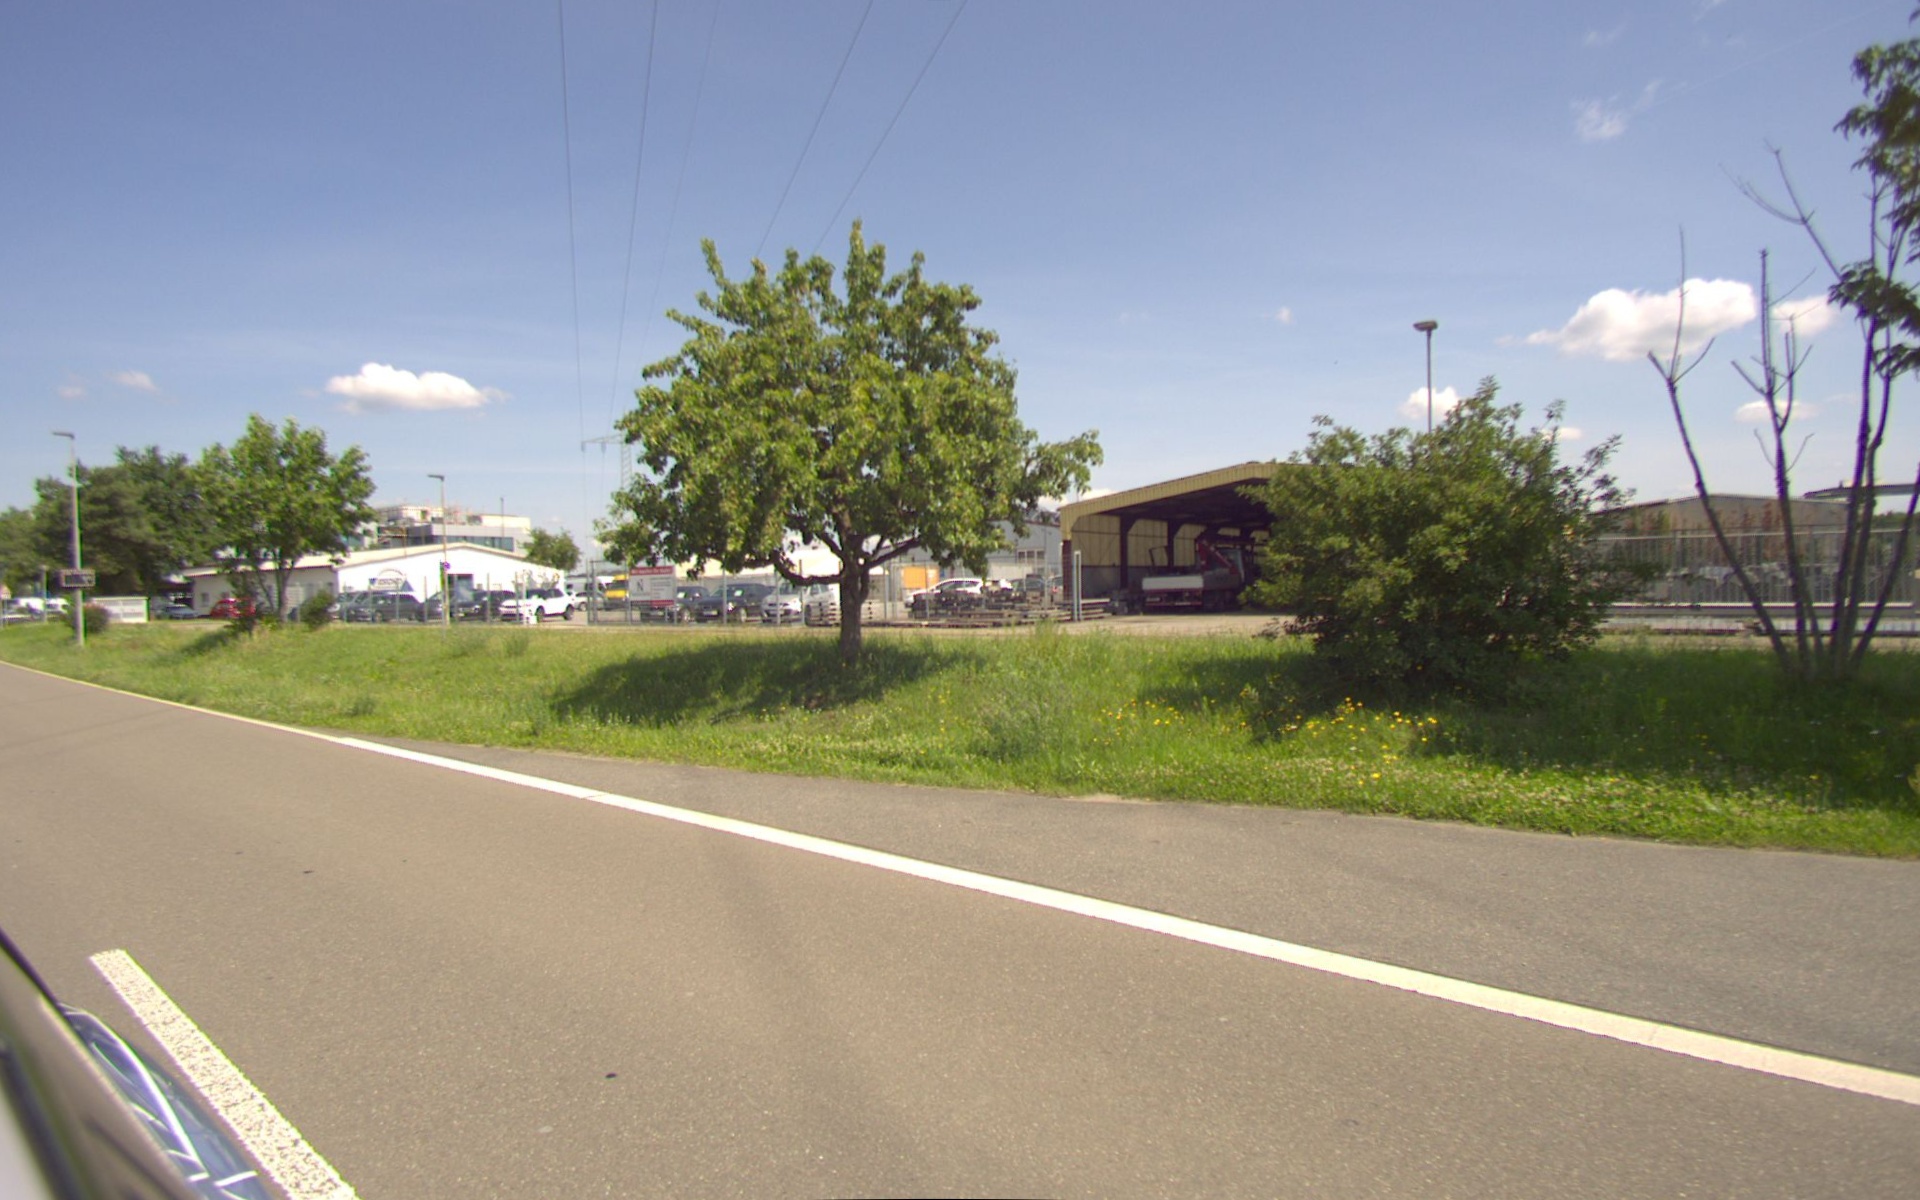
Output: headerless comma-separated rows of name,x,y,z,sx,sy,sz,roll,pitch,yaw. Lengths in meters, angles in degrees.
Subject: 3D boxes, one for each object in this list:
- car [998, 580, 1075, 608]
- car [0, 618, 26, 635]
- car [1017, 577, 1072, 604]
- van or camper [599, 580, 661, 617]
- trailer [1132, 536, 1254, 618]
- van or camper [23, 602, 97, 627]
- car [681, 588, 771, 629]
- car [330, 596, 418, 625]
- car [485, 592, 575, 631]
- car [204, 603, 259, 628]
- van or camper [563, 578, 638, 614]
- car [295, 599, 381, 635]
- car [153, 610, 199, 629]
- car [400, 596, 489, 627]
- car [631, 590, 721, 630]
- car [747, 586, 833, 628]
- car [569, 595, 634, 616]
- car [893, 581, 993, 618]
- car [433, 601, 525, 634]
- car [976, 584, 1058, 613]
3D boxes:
car,4.089,-0.324,53.609,3.953,1.320,1.840,-2,1,8
car,-91.555,2.534,96.156,2.000,1.530,3.944,0,1,42
car,5.926,-0.678,70.583,1.997,1.707,3.951,-1,1,37
van or camper,-22.499,-0.151,69.231,1.872,2.393,5.329,-2,1,7
trailer,8.925,-0.875,38.299,2.733,2.846,5.518,-1,1,33
van or camper,-95.984,1.507,108.046,5.492,2.516,2.085,-2,1,-27
car,-8.480,0.286,37.016,1.920,1.320,3.992,-2,1,7
car,-30.155,0.500,52.201,1.920,1.320,3.992,-2,1,7
car,-19.103,0.496,45.189,1.920,1.552,3.992,-2,1,7
car,-53.758,1.164,74.674,4.219,1.757,1.977,-1,1,35
van or camper,-27.815,-0.293,78.220,6.758,2.619,1.976,-1,1,37
car,-33.059,0.892,53.944,1.703,1.717,4.100,-2,1,7
car,-64.238,1.620,82.939,4.511,1.418,1.974,-1,1,39
car,-24.948,0.530,49.161,1.920,1.320,3.992,-2,1,7
car,-10.885,0.353,39.032,1.920,1.320,3.992,-2,1,7
car,-5.953,0.215,35.910,1.920,1.320,3.992,-2,1,7
car,-25.901,0.376,73.139,1.997,1.320,3.950,-1,1,38
car,-0.725,-0.043,45.768,4.200,1.497,1.995,-2,1,9
car,-22.066,0.769,46.620,1.921,1.320,3.989,-2,1,9
car,2.861,-0.085,50.647,3.953,1.320,1.840,-2,1,8
